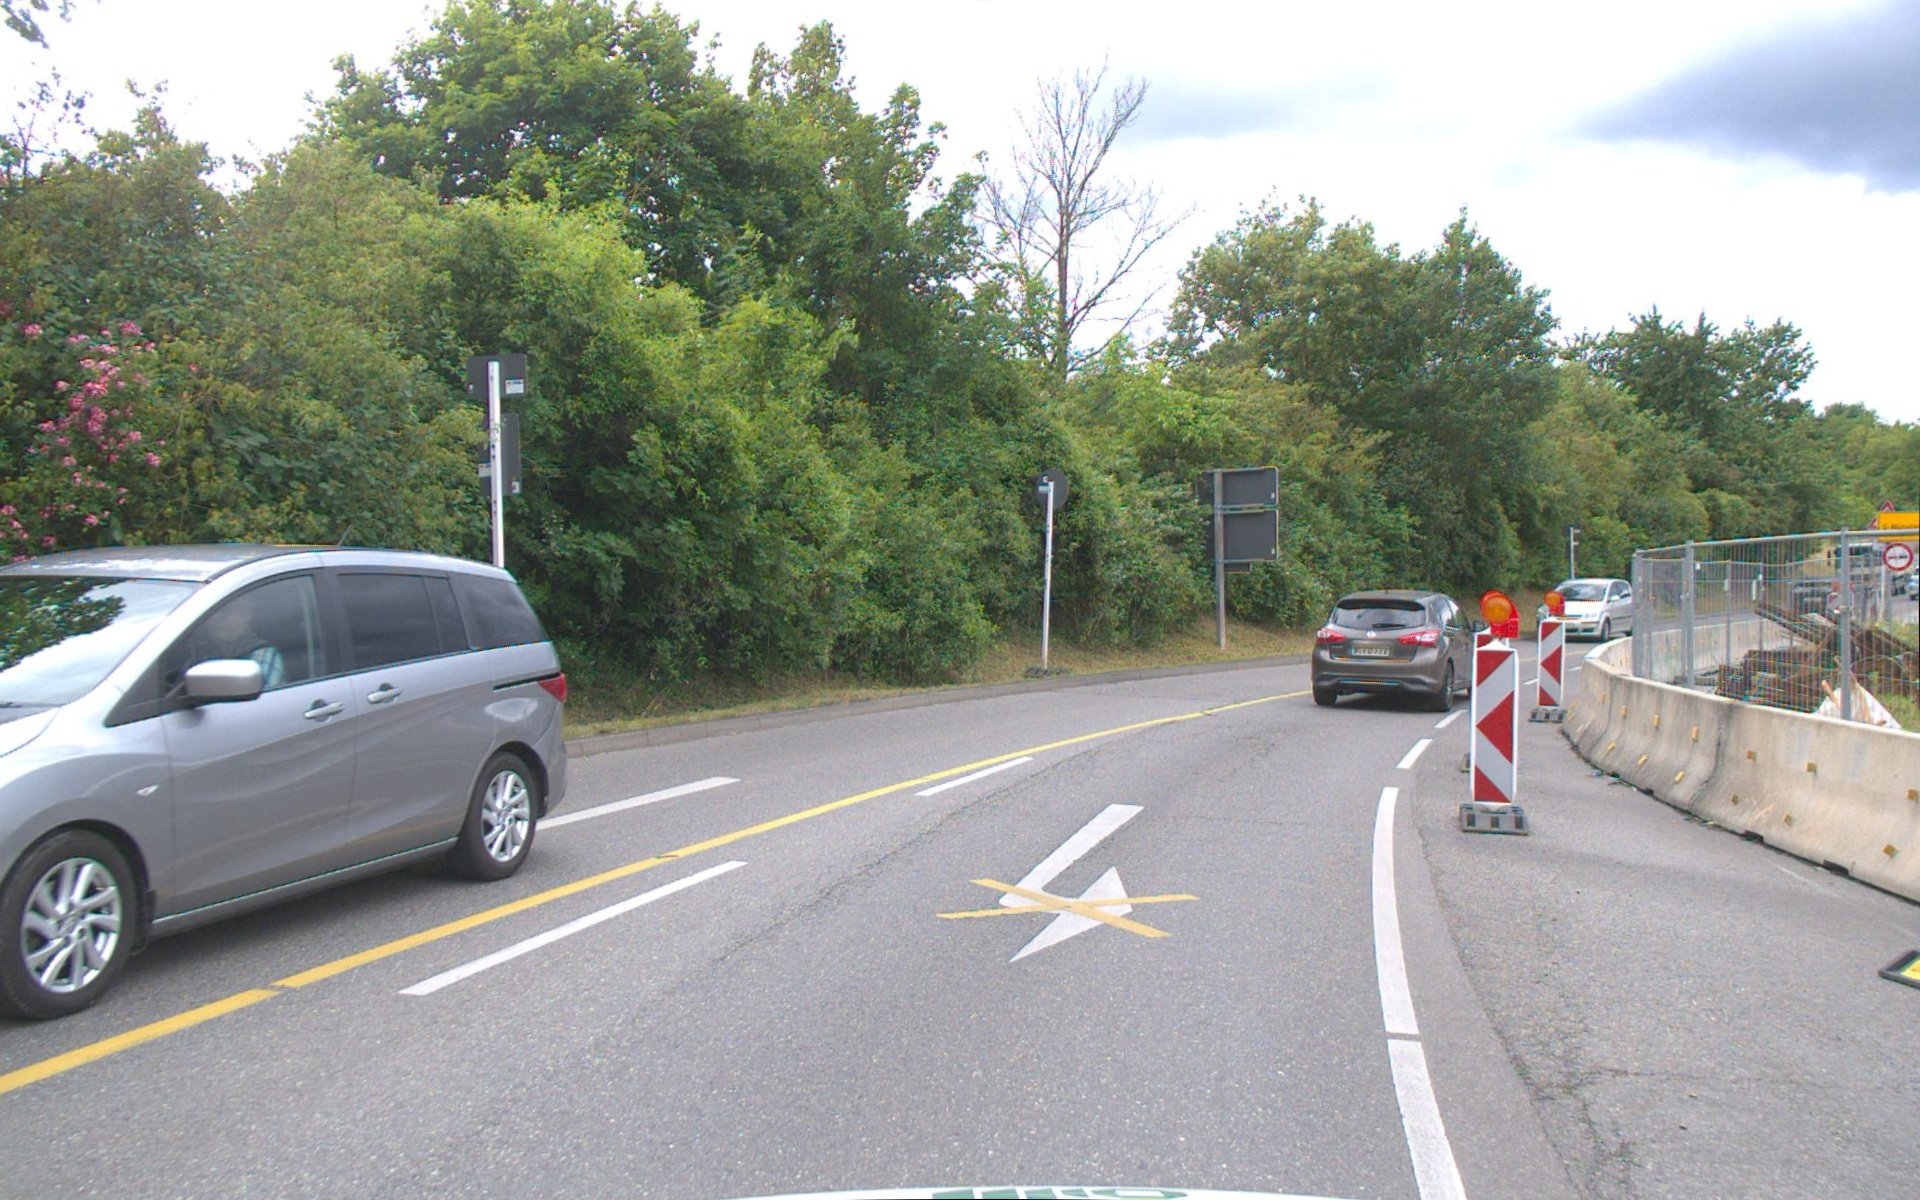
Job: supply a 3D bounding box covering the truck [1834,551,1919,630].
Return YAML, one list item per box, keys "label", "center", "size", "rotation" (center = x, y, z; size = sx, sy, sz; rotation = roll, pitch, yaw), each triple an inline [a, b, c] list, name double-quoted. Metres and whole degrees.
- label: "truck"
  center: [43.836, -0.517, 78.435]
  size: [2.774, 3.394, 8.344]
  rotation: [-1, 1, 38]

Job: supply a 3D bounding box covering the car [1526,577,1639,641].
- label: "car"
  center: [16.574, 0.205, 43.935]
  size: [1.630, 1.579, 4.168]
  rotation: [1, 1, 38]

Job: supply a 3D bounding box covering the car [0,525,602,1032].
- label: "car"
  center: [-3.284, 0.542, 6.940]
  size: [1.598, 1.572, 4.354]
  rotation: [1, 0, 16]

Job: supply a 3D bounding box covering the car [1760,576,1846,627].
- label: "car"
  center: [27.315, 0.013, 53.540]
  size: [1.790, 1.579, 3.772]
  rotation: [1, 1, 38]

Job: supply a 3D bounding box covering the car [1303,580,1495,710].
- label: "car"
  center: [6.089, 0.528, 22.619]
  size: [1.763, 1.579, 3.996]
  rotation: [1, 1, 26]

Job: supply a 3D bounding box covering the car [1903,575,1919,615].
- label: "car"
  center: [41.826, -0.233, 71.230]
  size: [1.682, 1.704, 3.986]
  rotation: [-2, -1, 35]
